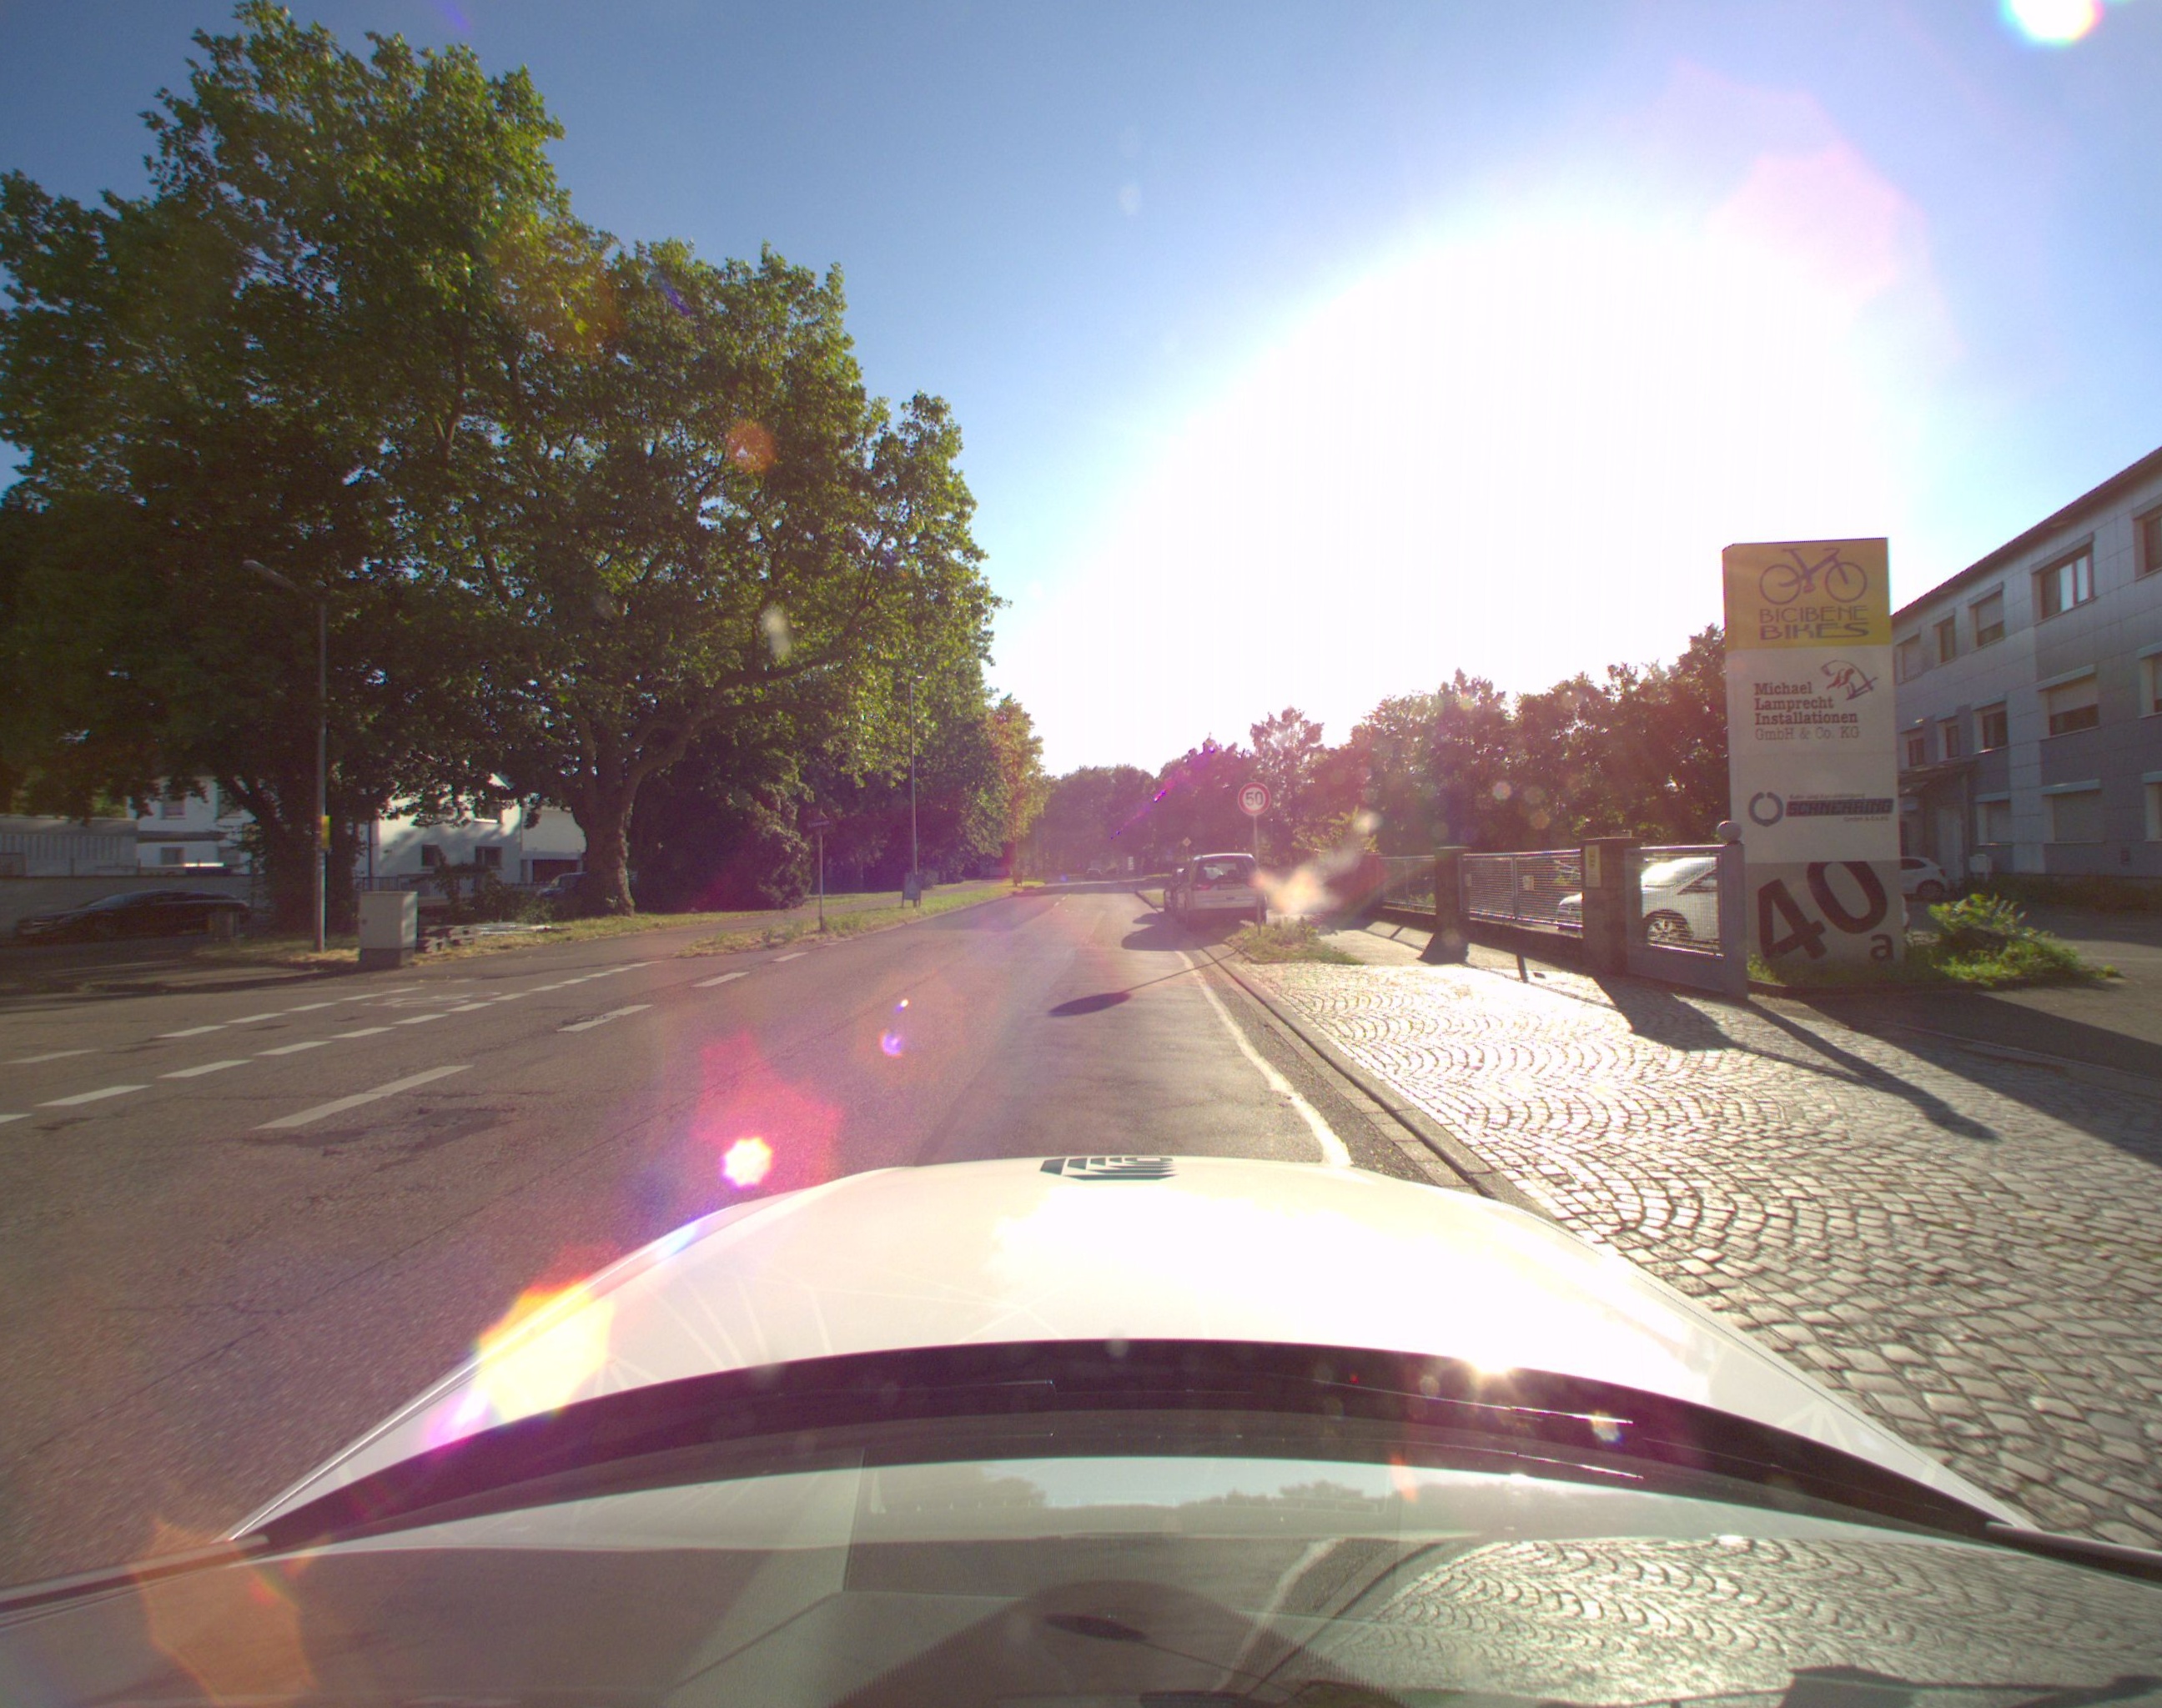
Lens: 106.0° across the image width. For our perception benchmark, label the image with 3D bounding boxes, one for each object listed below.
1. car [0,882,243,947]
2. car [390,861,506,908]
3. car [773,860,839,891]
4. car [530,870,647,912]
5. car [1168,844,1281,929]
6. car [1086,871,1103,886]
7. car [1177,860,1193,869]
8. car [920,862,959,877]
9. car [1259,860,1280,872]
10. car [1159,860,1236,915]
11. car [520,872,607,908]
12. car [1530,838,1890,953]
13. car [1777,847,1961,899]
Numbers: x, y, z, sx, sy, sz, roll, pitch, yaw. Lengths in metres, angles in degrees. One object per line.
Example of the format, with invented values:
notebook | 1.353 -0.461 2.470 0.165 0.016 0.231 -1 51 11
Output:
car | -27.545 1.679 23.661 1.852 1.561 4.359 -1 -1 1
car | -32.135 1.523 41.428 4.299 2.289 2.001 -1 -1 1
car | -19.078 1.457 56.655 3.983 2.044 1.904 0 1 -7
car | -21.357 1.592 35.441 3.975 1.684 1.726 -1 -2 -1
car | 3.398 0.752 20.274 1.986 1.759 4.918 -3 -1 1
car | 1.580 2.822 93.147 1.832 1.605 3.864 -2 -1 2
car | 15.966 1.613 125.027 1.837 1.420 3.996 -1 -1 -3
car | -15.182 1.678 87.586 3.982 1.508 1.909 0 -1 -6
car | 29.219 1.888 126.465 1.809 1.728 4.390 2 -1 -5
car | 3.542 0.987 25.552 1.776 1.515 4.690 -2 -1 1
car | -27.618 1.900 43.665 1.887 1.741 4.175 -3 -1 1
car | 9.300 0.601 12.330 3.970 1.560 1.843 -1 -1 3
car | 26.198 0.656 27.270 3.951 1.574 1.920 -2 -2 24
